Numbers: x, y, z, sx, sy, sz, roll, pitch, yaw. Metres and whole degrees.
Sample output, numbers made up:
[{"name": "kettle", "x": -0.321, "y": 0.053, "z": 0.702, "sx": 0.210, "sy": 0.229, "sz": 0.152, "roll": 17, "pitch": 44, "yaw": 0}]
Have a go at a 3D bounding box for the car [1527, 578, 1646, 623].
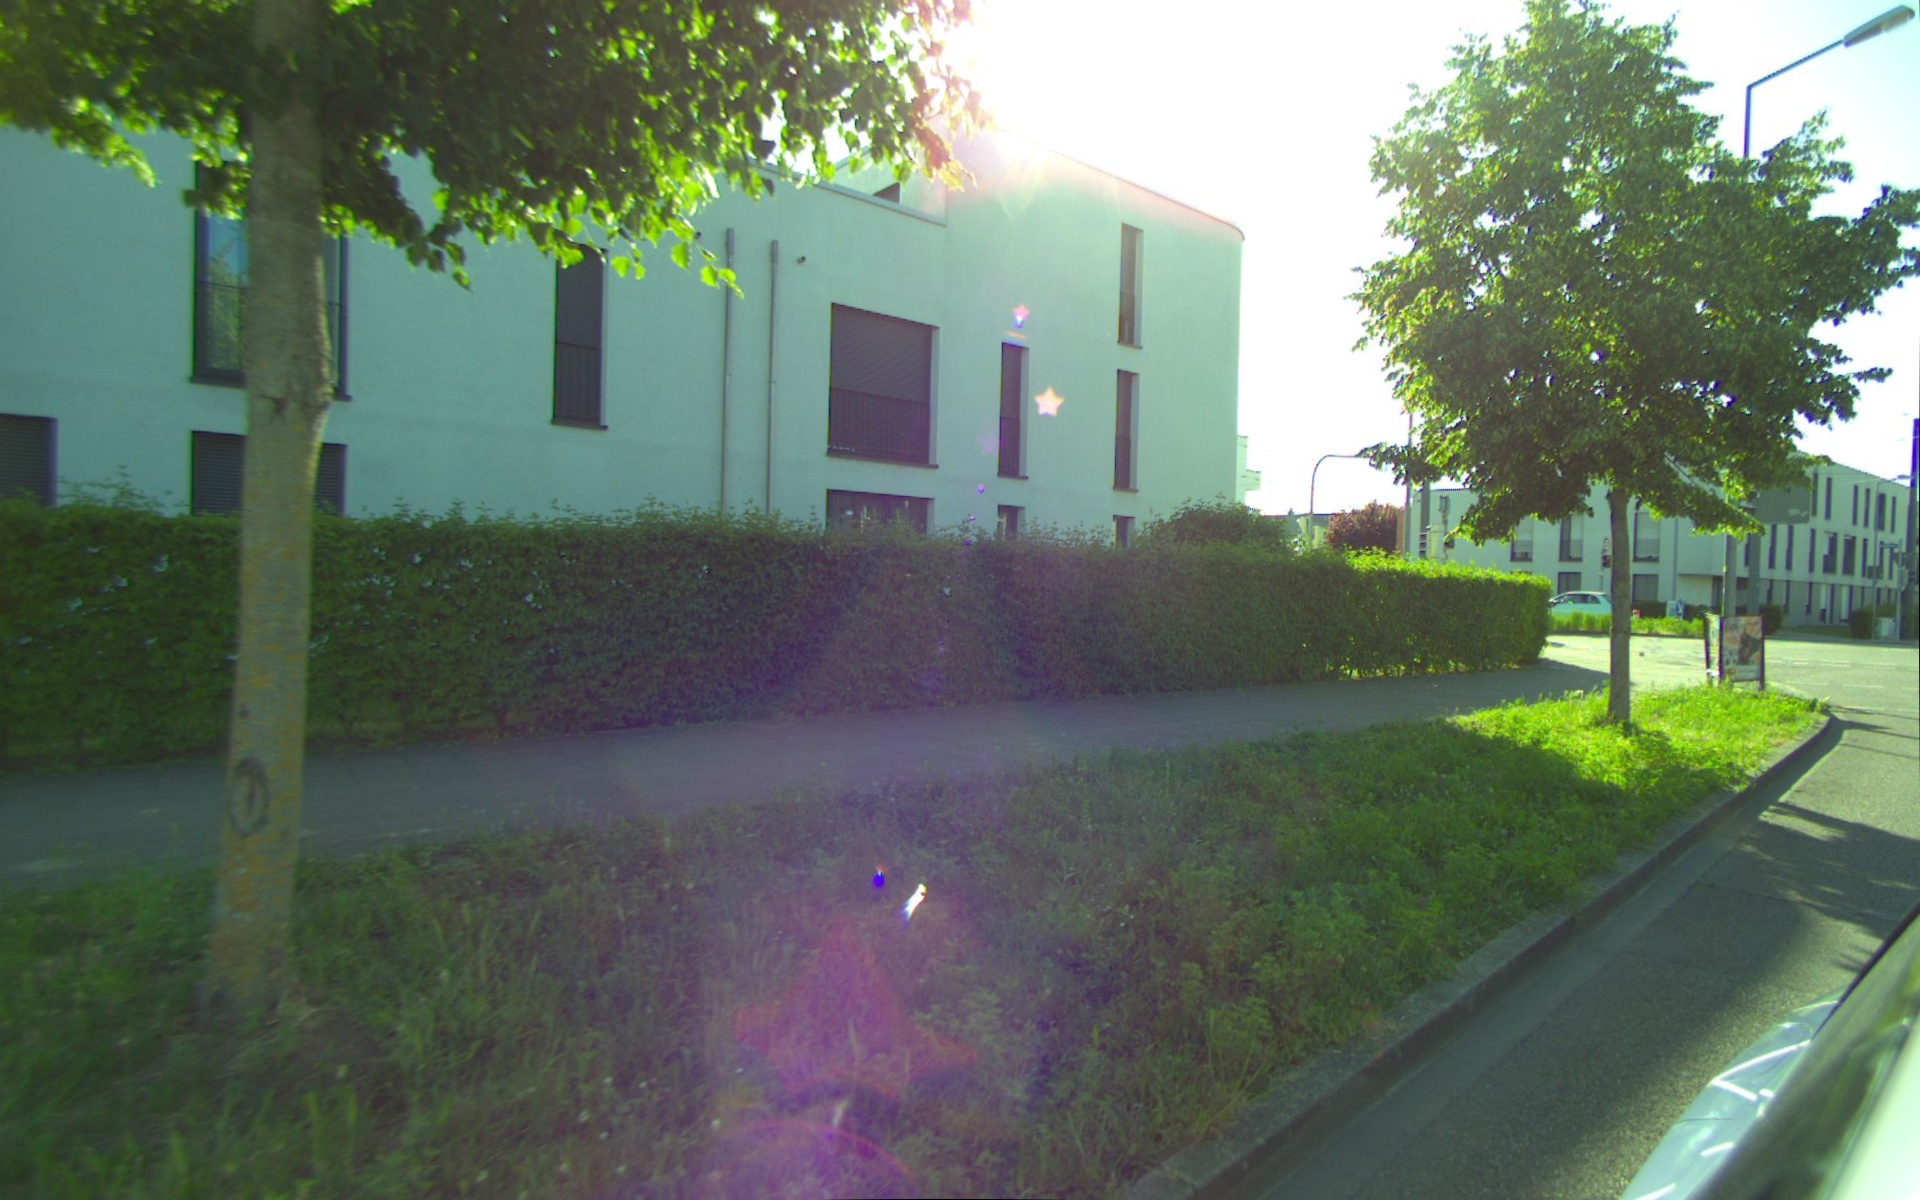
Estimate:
[{"name": "car", "x": 24.539, "y": 0.005, "z": 39.693, "sx": 1.965, "sy": 1.505, "sz": 3.539, "roll": 3, "pitch": 0, "yaw": -41}]
